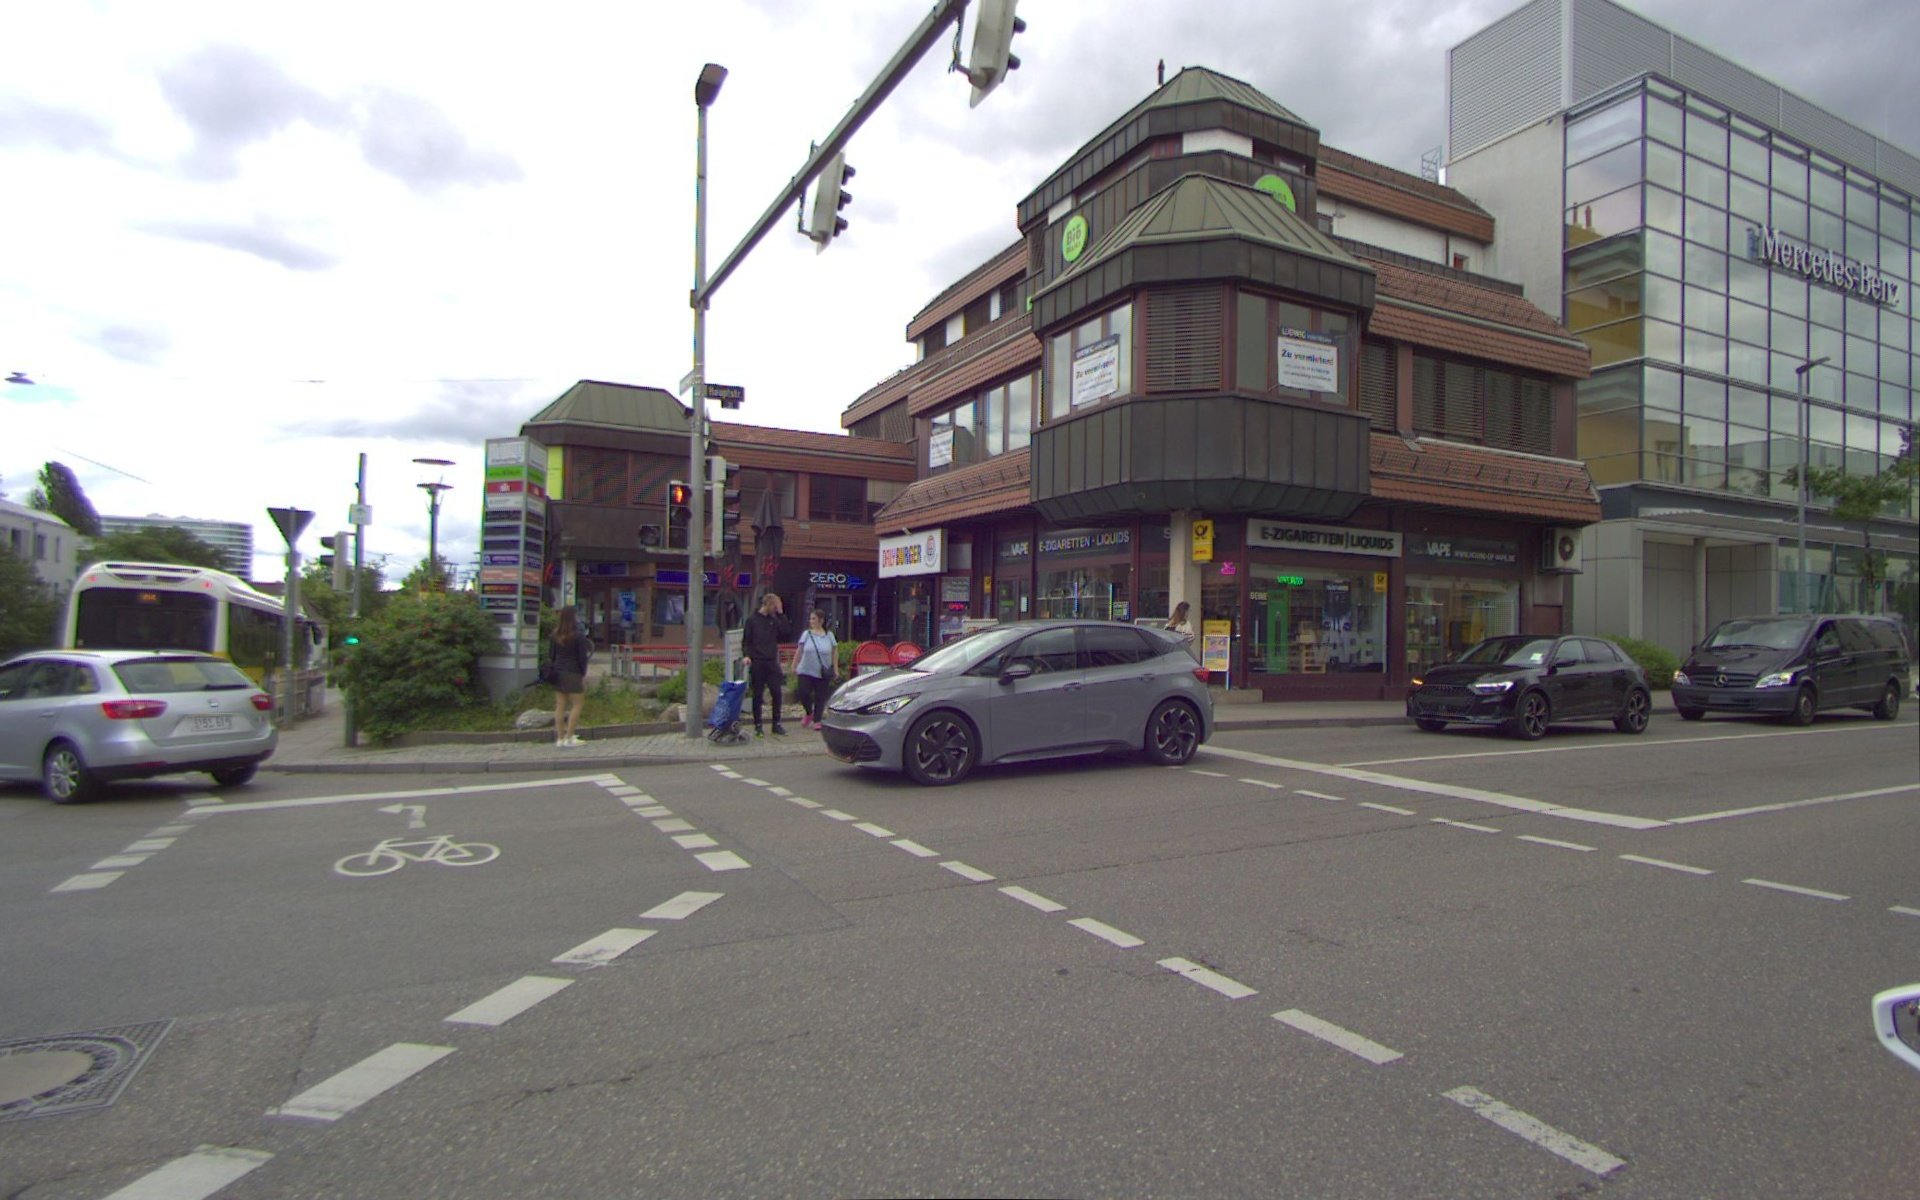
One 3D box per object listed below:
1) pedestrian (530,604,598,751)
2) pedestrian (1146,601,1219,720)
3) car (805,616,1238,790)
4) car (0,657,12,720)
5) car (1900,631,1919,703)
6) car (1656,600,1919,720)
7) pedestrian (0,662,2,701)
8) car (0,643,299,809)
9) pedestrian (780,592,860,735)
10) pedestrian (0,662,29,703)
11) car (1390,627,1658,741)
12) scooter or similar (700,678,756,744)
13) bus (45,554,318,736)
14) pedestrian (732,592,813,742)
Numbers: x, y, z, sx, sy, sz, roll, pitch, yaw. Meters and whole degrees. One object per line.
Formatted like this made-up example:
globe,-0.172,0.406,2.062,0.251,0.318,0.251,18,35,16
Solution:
pedestrian,-4.870,0.922,12.392,0.690,1.736,0.810,0,0,-15
pedestrian,3.340,0.889,15.108,0.769,1.715,0.745,1,-1,-32
car,0.696,0.968,10.676,4.330,1.537,1.752,1,-2,-28
car,-23.253,2.033,22.509,1.792,1.505,3.974,2,-4,-27
car,21.798,1.414,21.175,3.949,1.484,1.654,1,-2,-27
car,15.052,1.048,18.215,5.049,1.935,1.859,1,-2,-28
pedestrian,-41.400,3.479,42.601,0.852,1.674,0.858,1,-1,-25
car,-9.032,1.222,10.327,4.117,1.437,1.640,-2,-2,21
pedestrian,-1.881,0.822,13.485,0.767,1.832,0.805,1,0,-35
pedestrian,-40.558,3.508,42.956,0.852,1.674,0.858,1,-1,-25
car,8.397,1.165,14.893,3.952,1.462,1.694,1,-1,-30
scooter or similar,-2.833,1.345,12.268,0.533,0.736,0.451,1,-1,-35
bus,-18.273,1.203,24.670,2.959,3.370,12.225,1,-4,-27
pedestrian,-2.392,0.821,12.796,0.738,1.832,0.805,1,0,-35
